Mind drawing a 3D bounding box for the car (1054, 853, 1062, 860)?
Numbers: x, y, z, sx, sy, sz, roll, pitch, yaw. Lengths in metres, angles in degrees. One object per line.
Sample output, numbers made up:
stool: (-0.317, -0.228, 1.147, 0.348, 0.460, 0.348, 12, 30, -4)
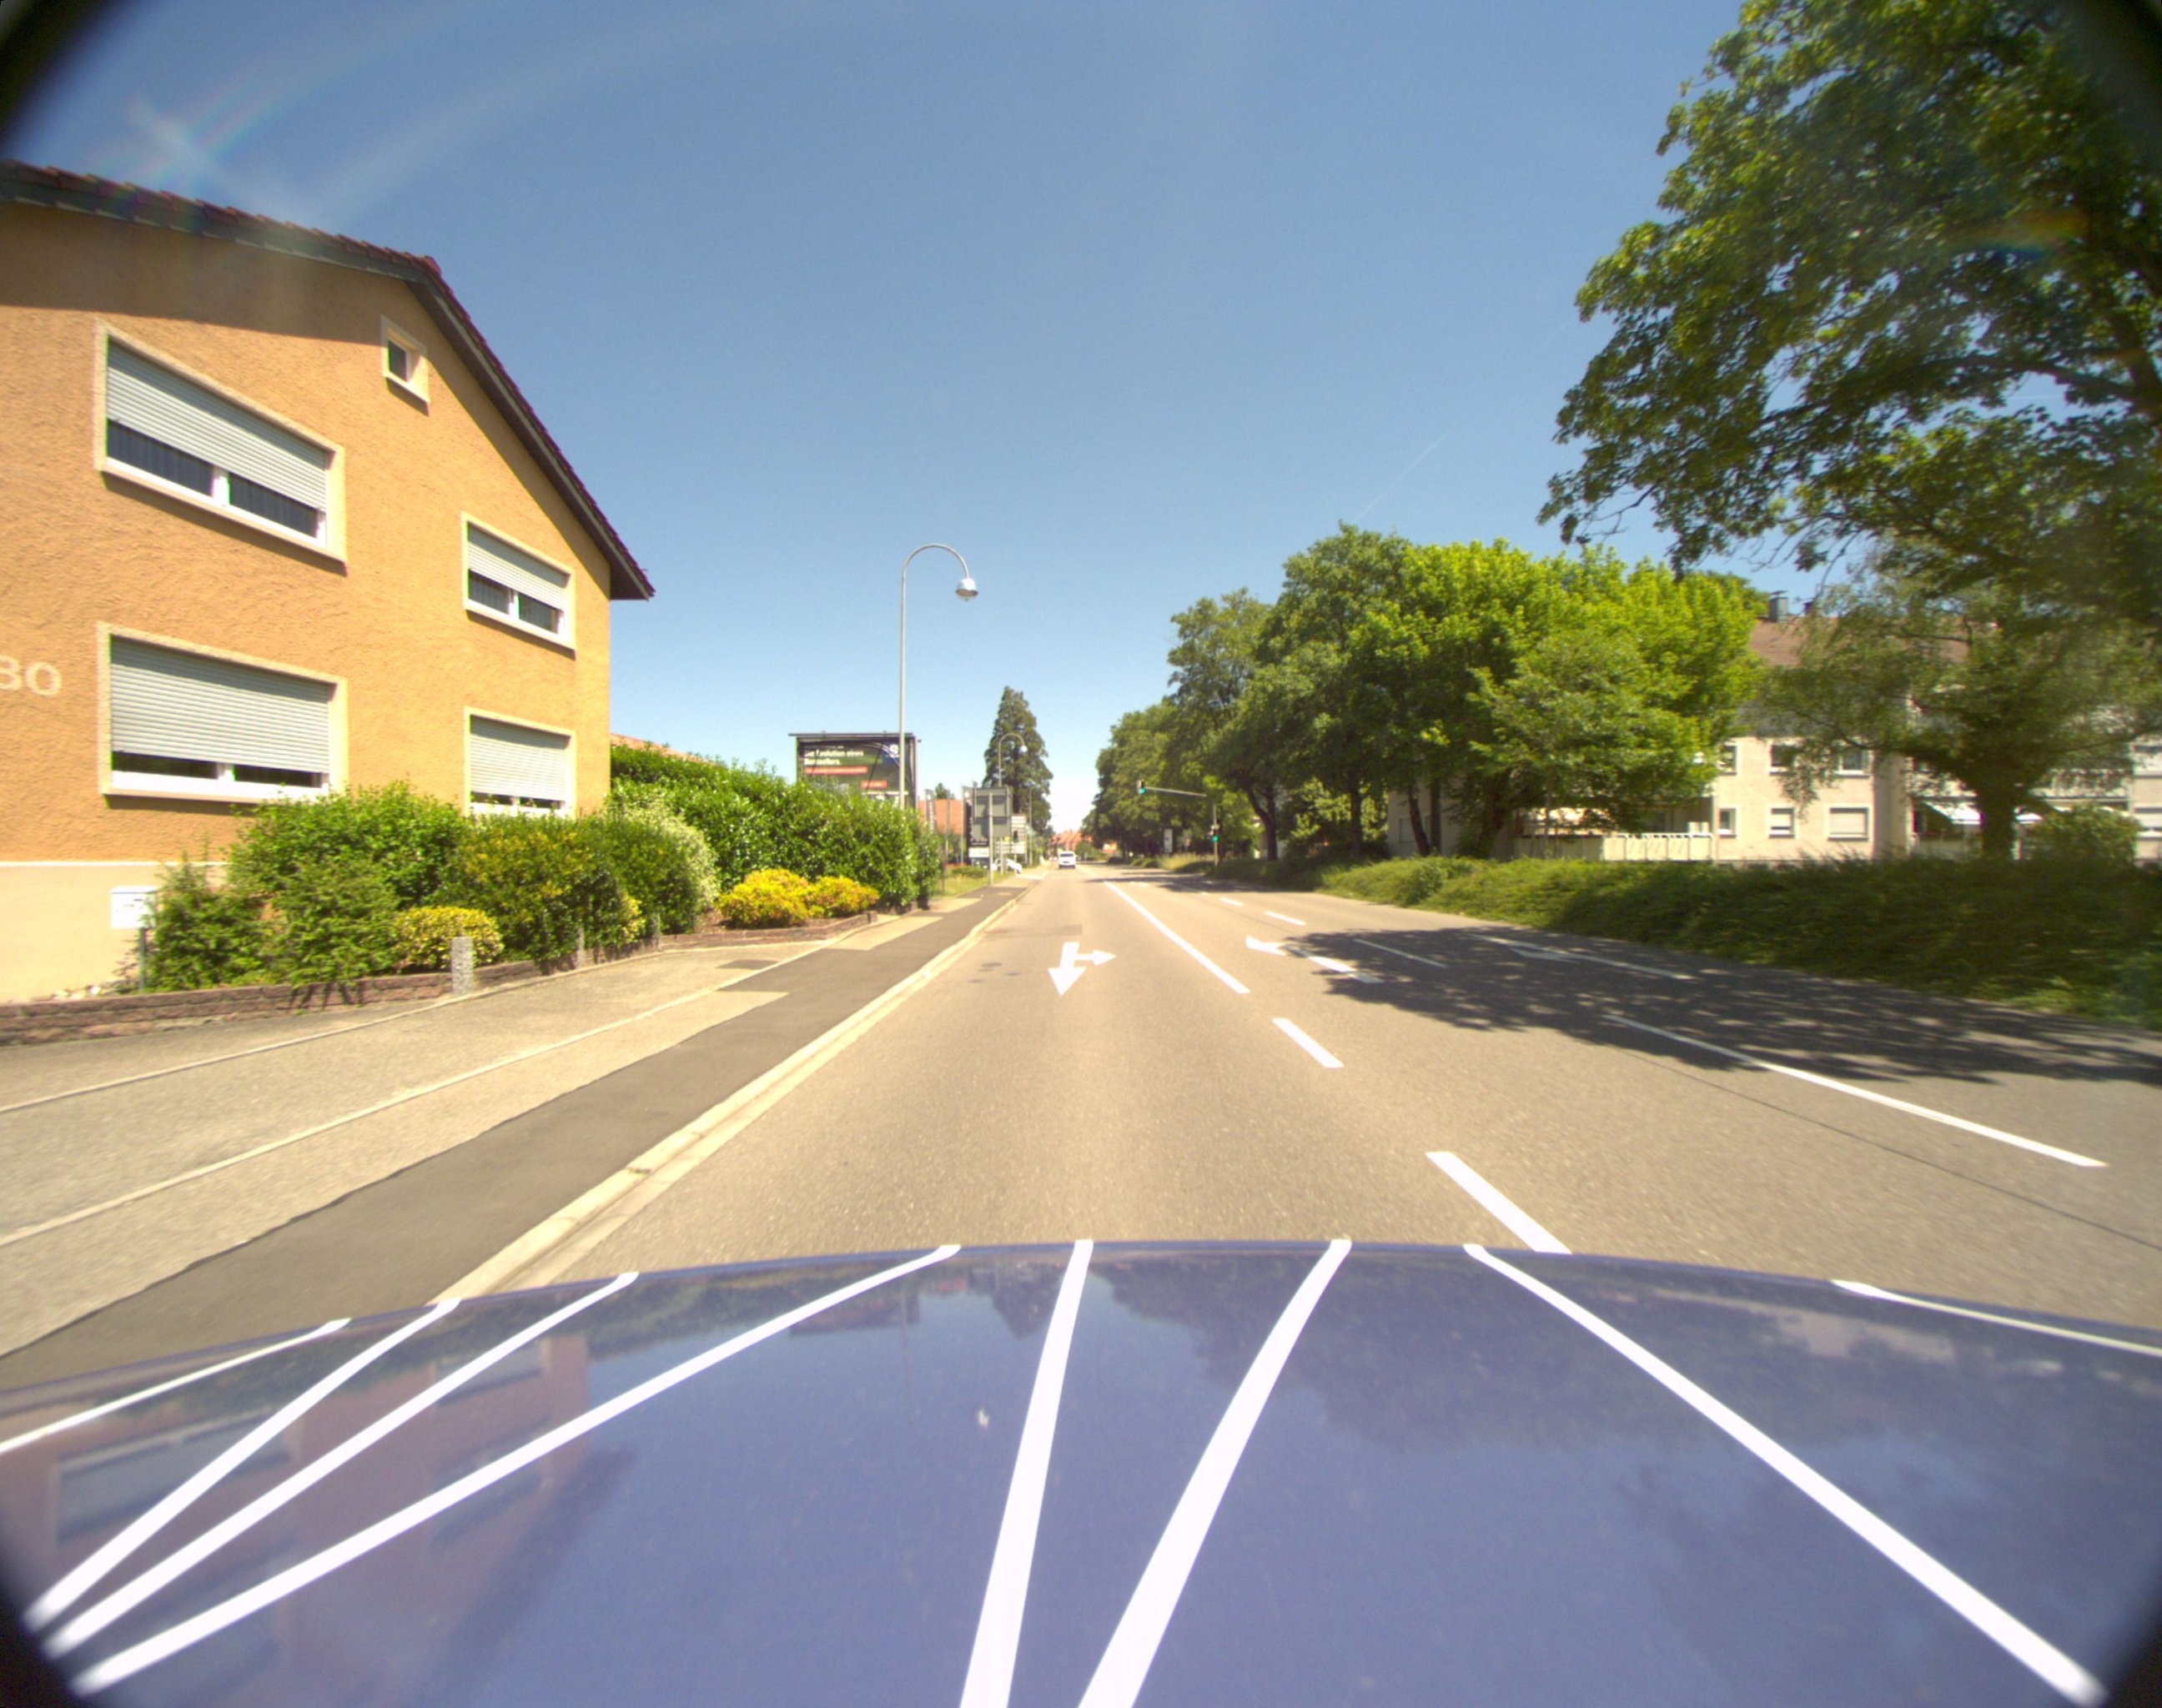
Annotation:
car: (-6.163, 0.641, 204.800, 1.862, 2.002, 4.000, -1, 0, 2)

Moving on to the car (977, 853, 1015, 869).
car: (-8.536, 0.719, 76.528, 3.637, 1.542, 1.627, -1, 1, 1)

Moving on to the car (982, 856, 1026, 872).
car: (-6.862, 0.903, 67.909, 3.637, 1.375, 1.627, -1, 1, 1)

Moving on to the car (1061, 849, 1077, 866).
car: (-1.415, 0.351, 87.528, 1.796, 1.904, 3.640, -1, 1, -1)
